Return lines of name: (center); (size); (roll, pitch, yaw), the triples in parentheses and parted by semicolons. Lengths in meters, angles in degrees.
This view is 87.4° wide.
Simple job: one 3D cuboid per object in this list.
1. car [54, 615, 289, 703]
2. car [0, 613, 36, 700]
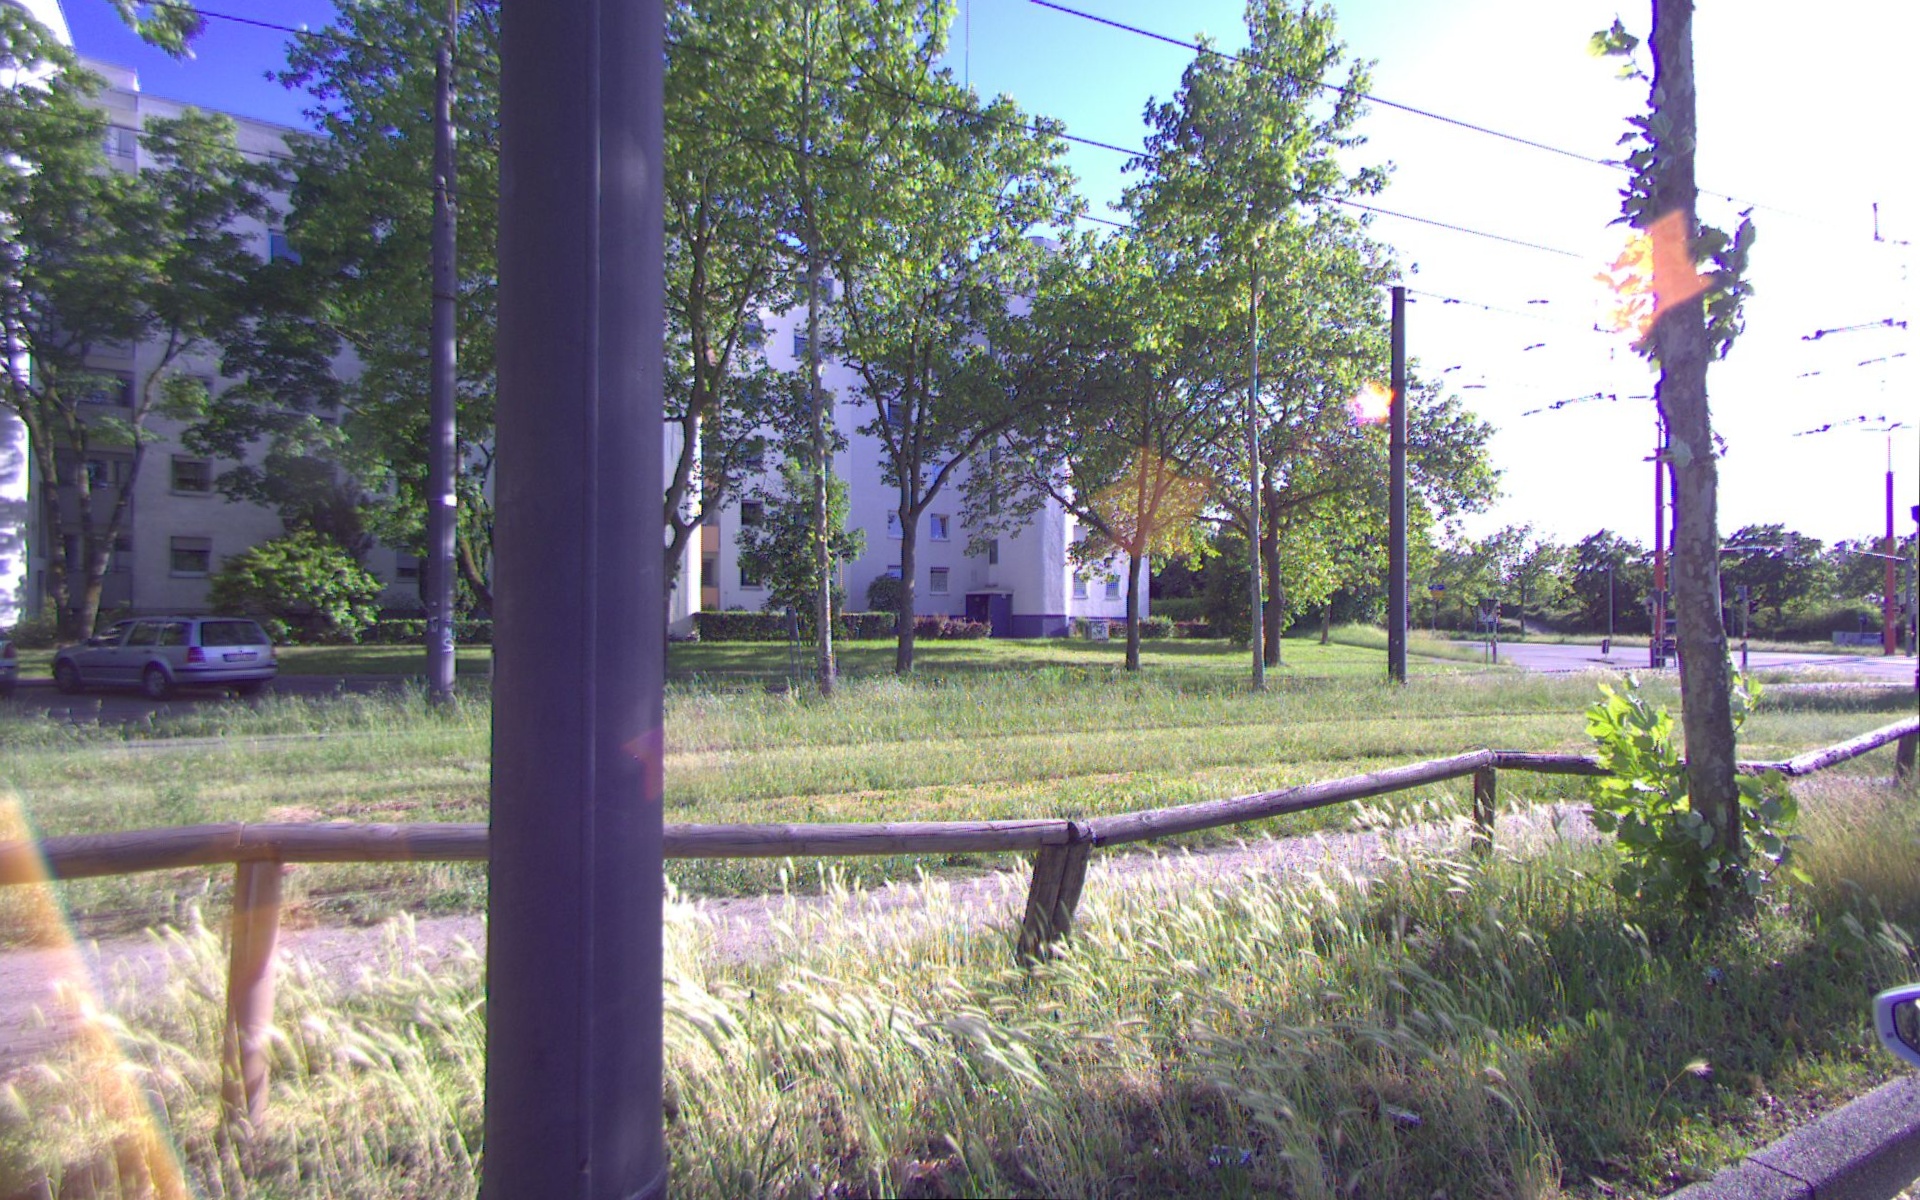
car: (-14.482, 1.029, 18.480); (3.609, 1.452, 1.732); (0, -1, 20)
car: (-17.926, 0.930, 17.136); (3.609, 1.452, 1.703); (0, -1, 20)
